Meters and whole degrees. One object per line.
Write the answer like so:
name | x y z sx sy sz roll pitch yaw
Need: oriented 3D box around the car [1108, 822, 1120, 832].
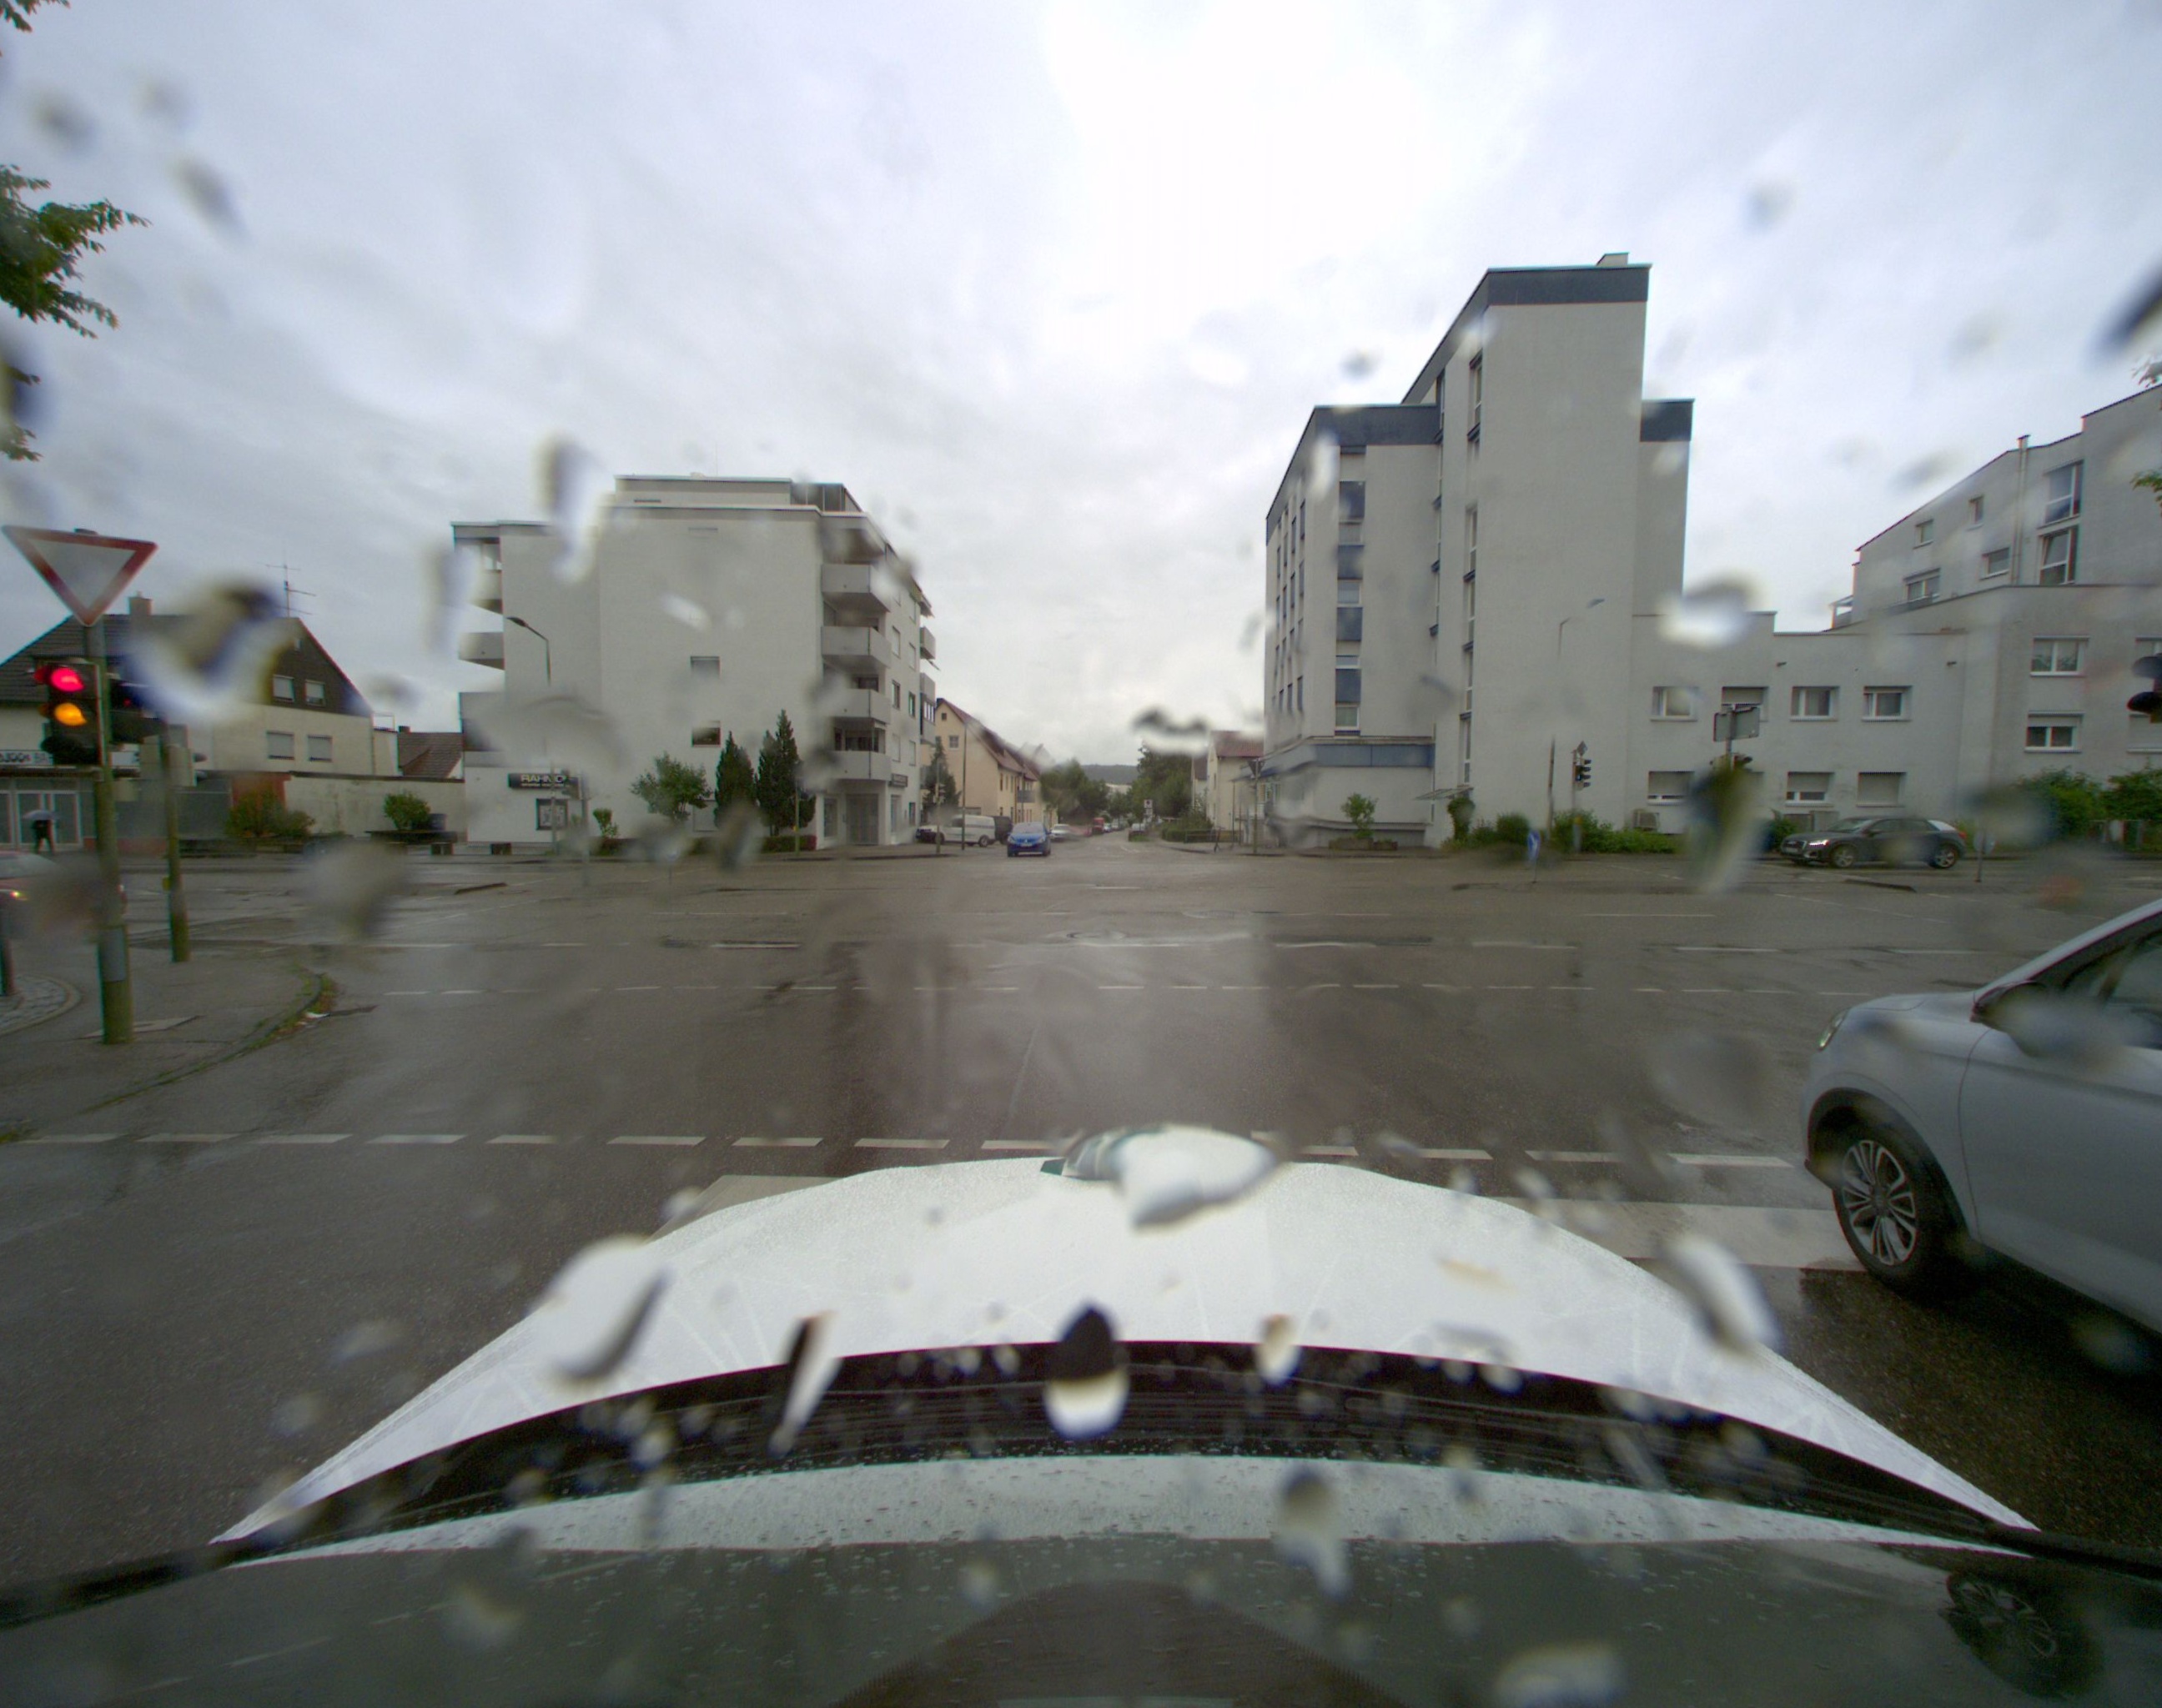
car | 6.298 -5.118 154.823 1.982 1.706 4.010 -1 -1 9

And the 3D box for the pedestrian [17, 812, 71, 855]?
pedestrian | -38.755 -0.757 30.433 0.986 1.568 0.755 -1 1 1

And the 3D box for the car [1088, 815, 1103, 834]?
car | 2.282 -4.572 127.436 2.208 2.768 5.728 -1 1 2

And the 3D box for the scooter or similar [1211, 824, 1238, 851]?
scooter or similar | 6.808 -0.776 38.559 1.058 1.227 0.799 0 -1 -8

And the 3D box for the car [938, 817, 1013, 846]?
car | -7.085 -1.527 54.902 4.644 1.888 1.941 -2 2 -37

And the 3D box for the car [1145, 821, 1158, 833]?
car | 11.993 -4.559 137.957 1.983 2.013 4.009 -1 1 7

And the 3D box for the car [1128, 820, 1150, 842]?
car | 5.827 -2.255 81.571 1.983 2.014 4.008 0 -1 7

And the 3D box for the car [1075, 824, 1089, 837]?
car | 0.149 -3.010 104.389 1.762 1.518 3.999 -1 2 -1

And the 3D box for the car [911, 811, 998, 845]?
car | -7.410 -1.470 47.944 4.751 1.778 1.753 2 -1 -37

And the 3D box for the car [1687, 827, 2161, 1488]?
car | 3.412 0.723 1.885 1.678 1.554 3.919 -1 1 10

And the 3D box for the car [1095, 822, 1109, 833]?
car | 3.664 -4.539 138.710 1.983 1.684 4.008 0 -1 7

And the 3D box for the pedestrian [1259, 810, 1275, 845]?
pedestrian | 9.042 -1.266 39.535 0.652 1.652 0.646 0 -1 2

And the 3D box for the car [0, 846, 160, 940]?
car | -20.507 0.693 15.401 4.074 1.505 1.783 0 6 2

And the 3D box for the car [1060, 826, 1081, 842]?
car | -0.978 -1.986 79.736 1.760 1.518 4.197 -1 2 2

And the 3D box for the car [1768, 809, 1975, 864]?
car | 23.260 -0.527 24.119 4.110 1.485 1.748 -1 4 10

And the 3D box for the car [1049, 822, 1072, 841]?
car | -1.662 -1.846 68.092 1.761 1.523 4.000 -1 2 0

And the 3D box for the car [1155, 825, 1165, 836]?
car | 15.734 -4.663 161.862 1.983 2.013 4.009 -1 1 7

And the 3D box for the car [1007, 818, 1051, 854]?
car | -2.248 -0.754 36.036 1.762 1.445 3.998 0 -1 -1

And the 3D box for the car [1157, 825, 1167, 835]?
car | 16.906 -4.991 170.428 1.983 2.013 4.009 -1 1 7

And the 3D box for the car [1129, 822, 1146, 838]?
car | 7.216 -3.024 103.550 1.983 2.013 4.009 -1 1 7

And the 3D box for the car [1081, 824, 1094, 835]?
car | 0.882 -3.408 112.647 1.762 1.518 3.999 -1 2 -1
